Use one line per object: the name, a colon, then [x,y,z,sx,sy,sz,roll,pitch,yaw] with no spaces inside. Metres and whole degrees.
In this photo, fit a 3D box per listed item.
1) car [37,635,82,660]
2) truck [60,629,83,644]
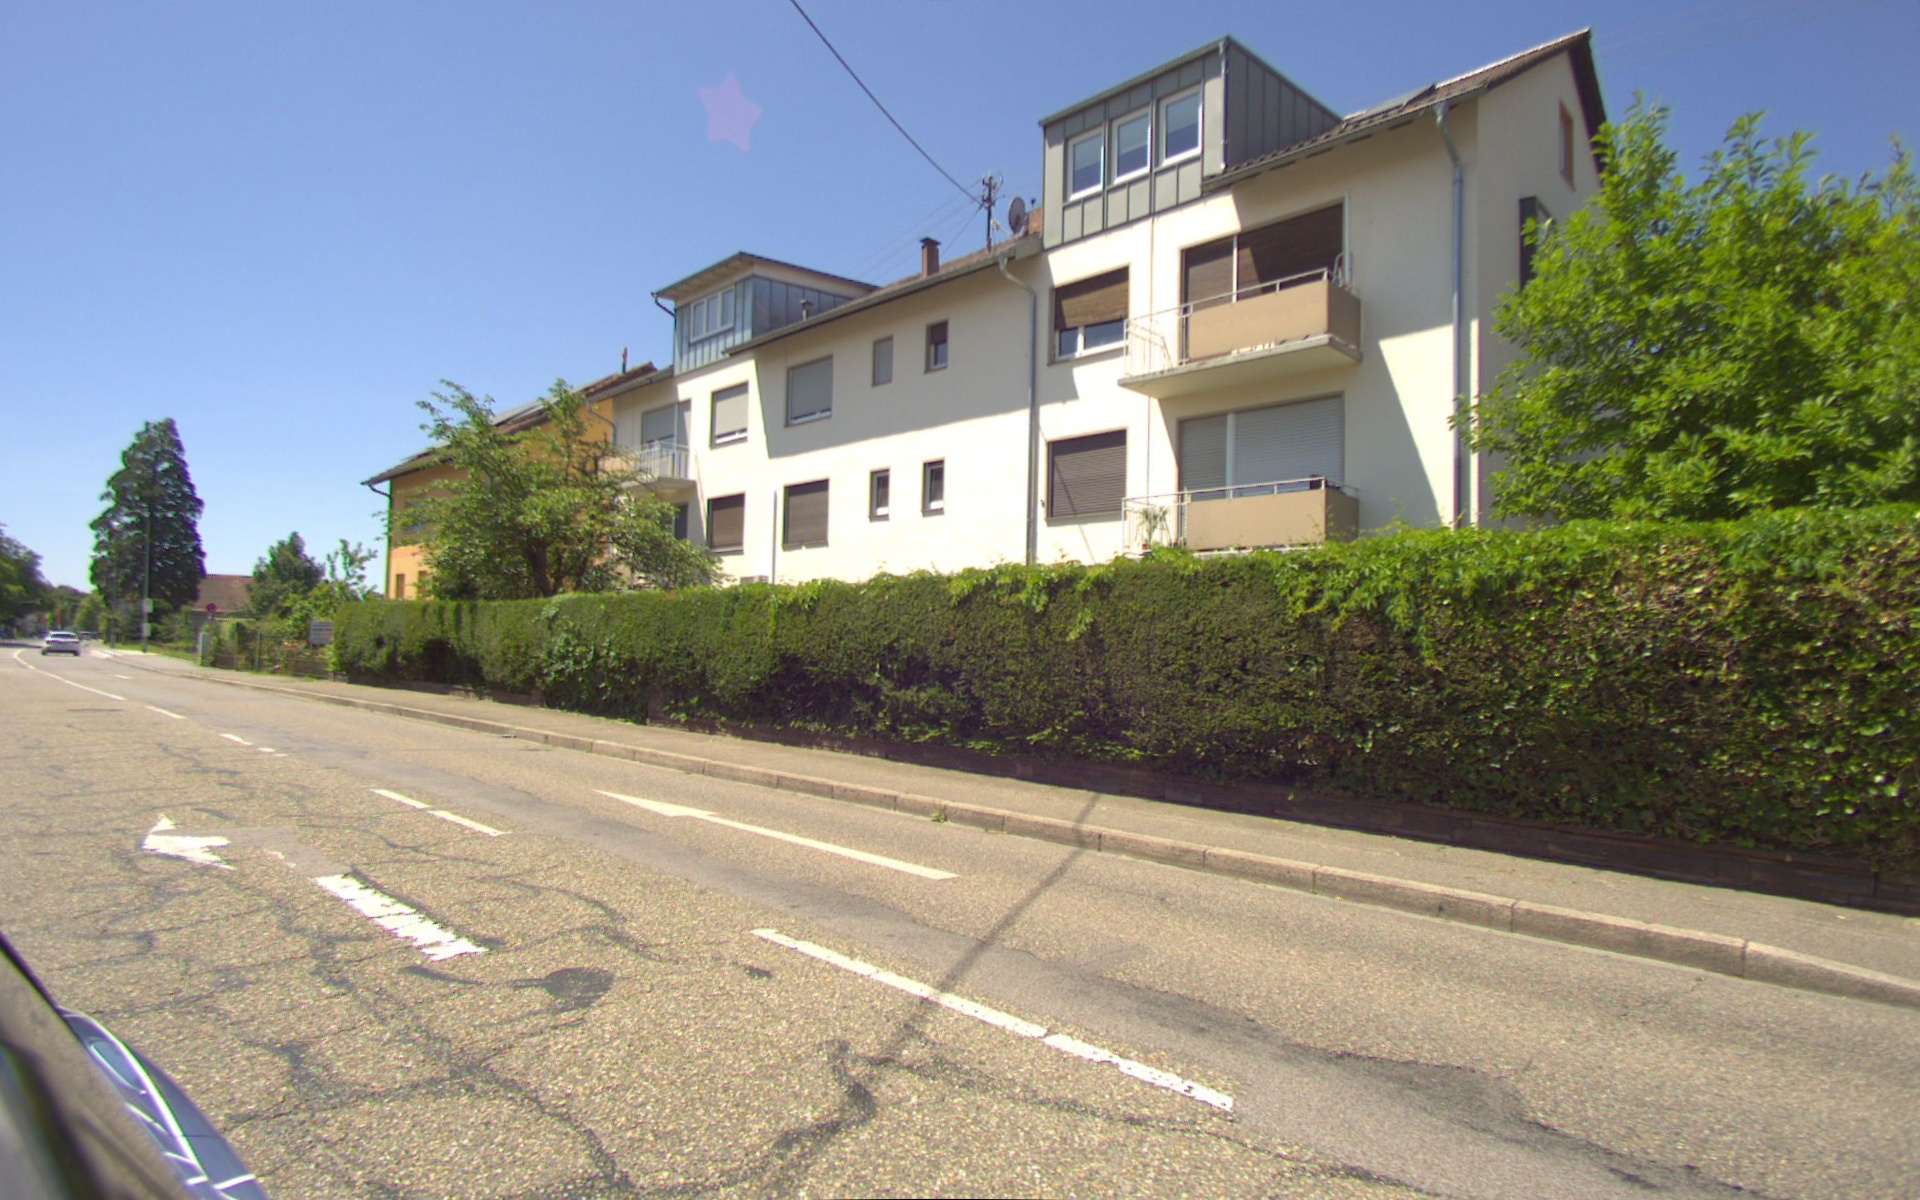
car: [-54.313,2.864,61.010,4.207,1.383,1.661,-2,-6,44]
truck: [-141.607,5.844,161.303,2.583,2.258,6.267,4,-4,-40]
